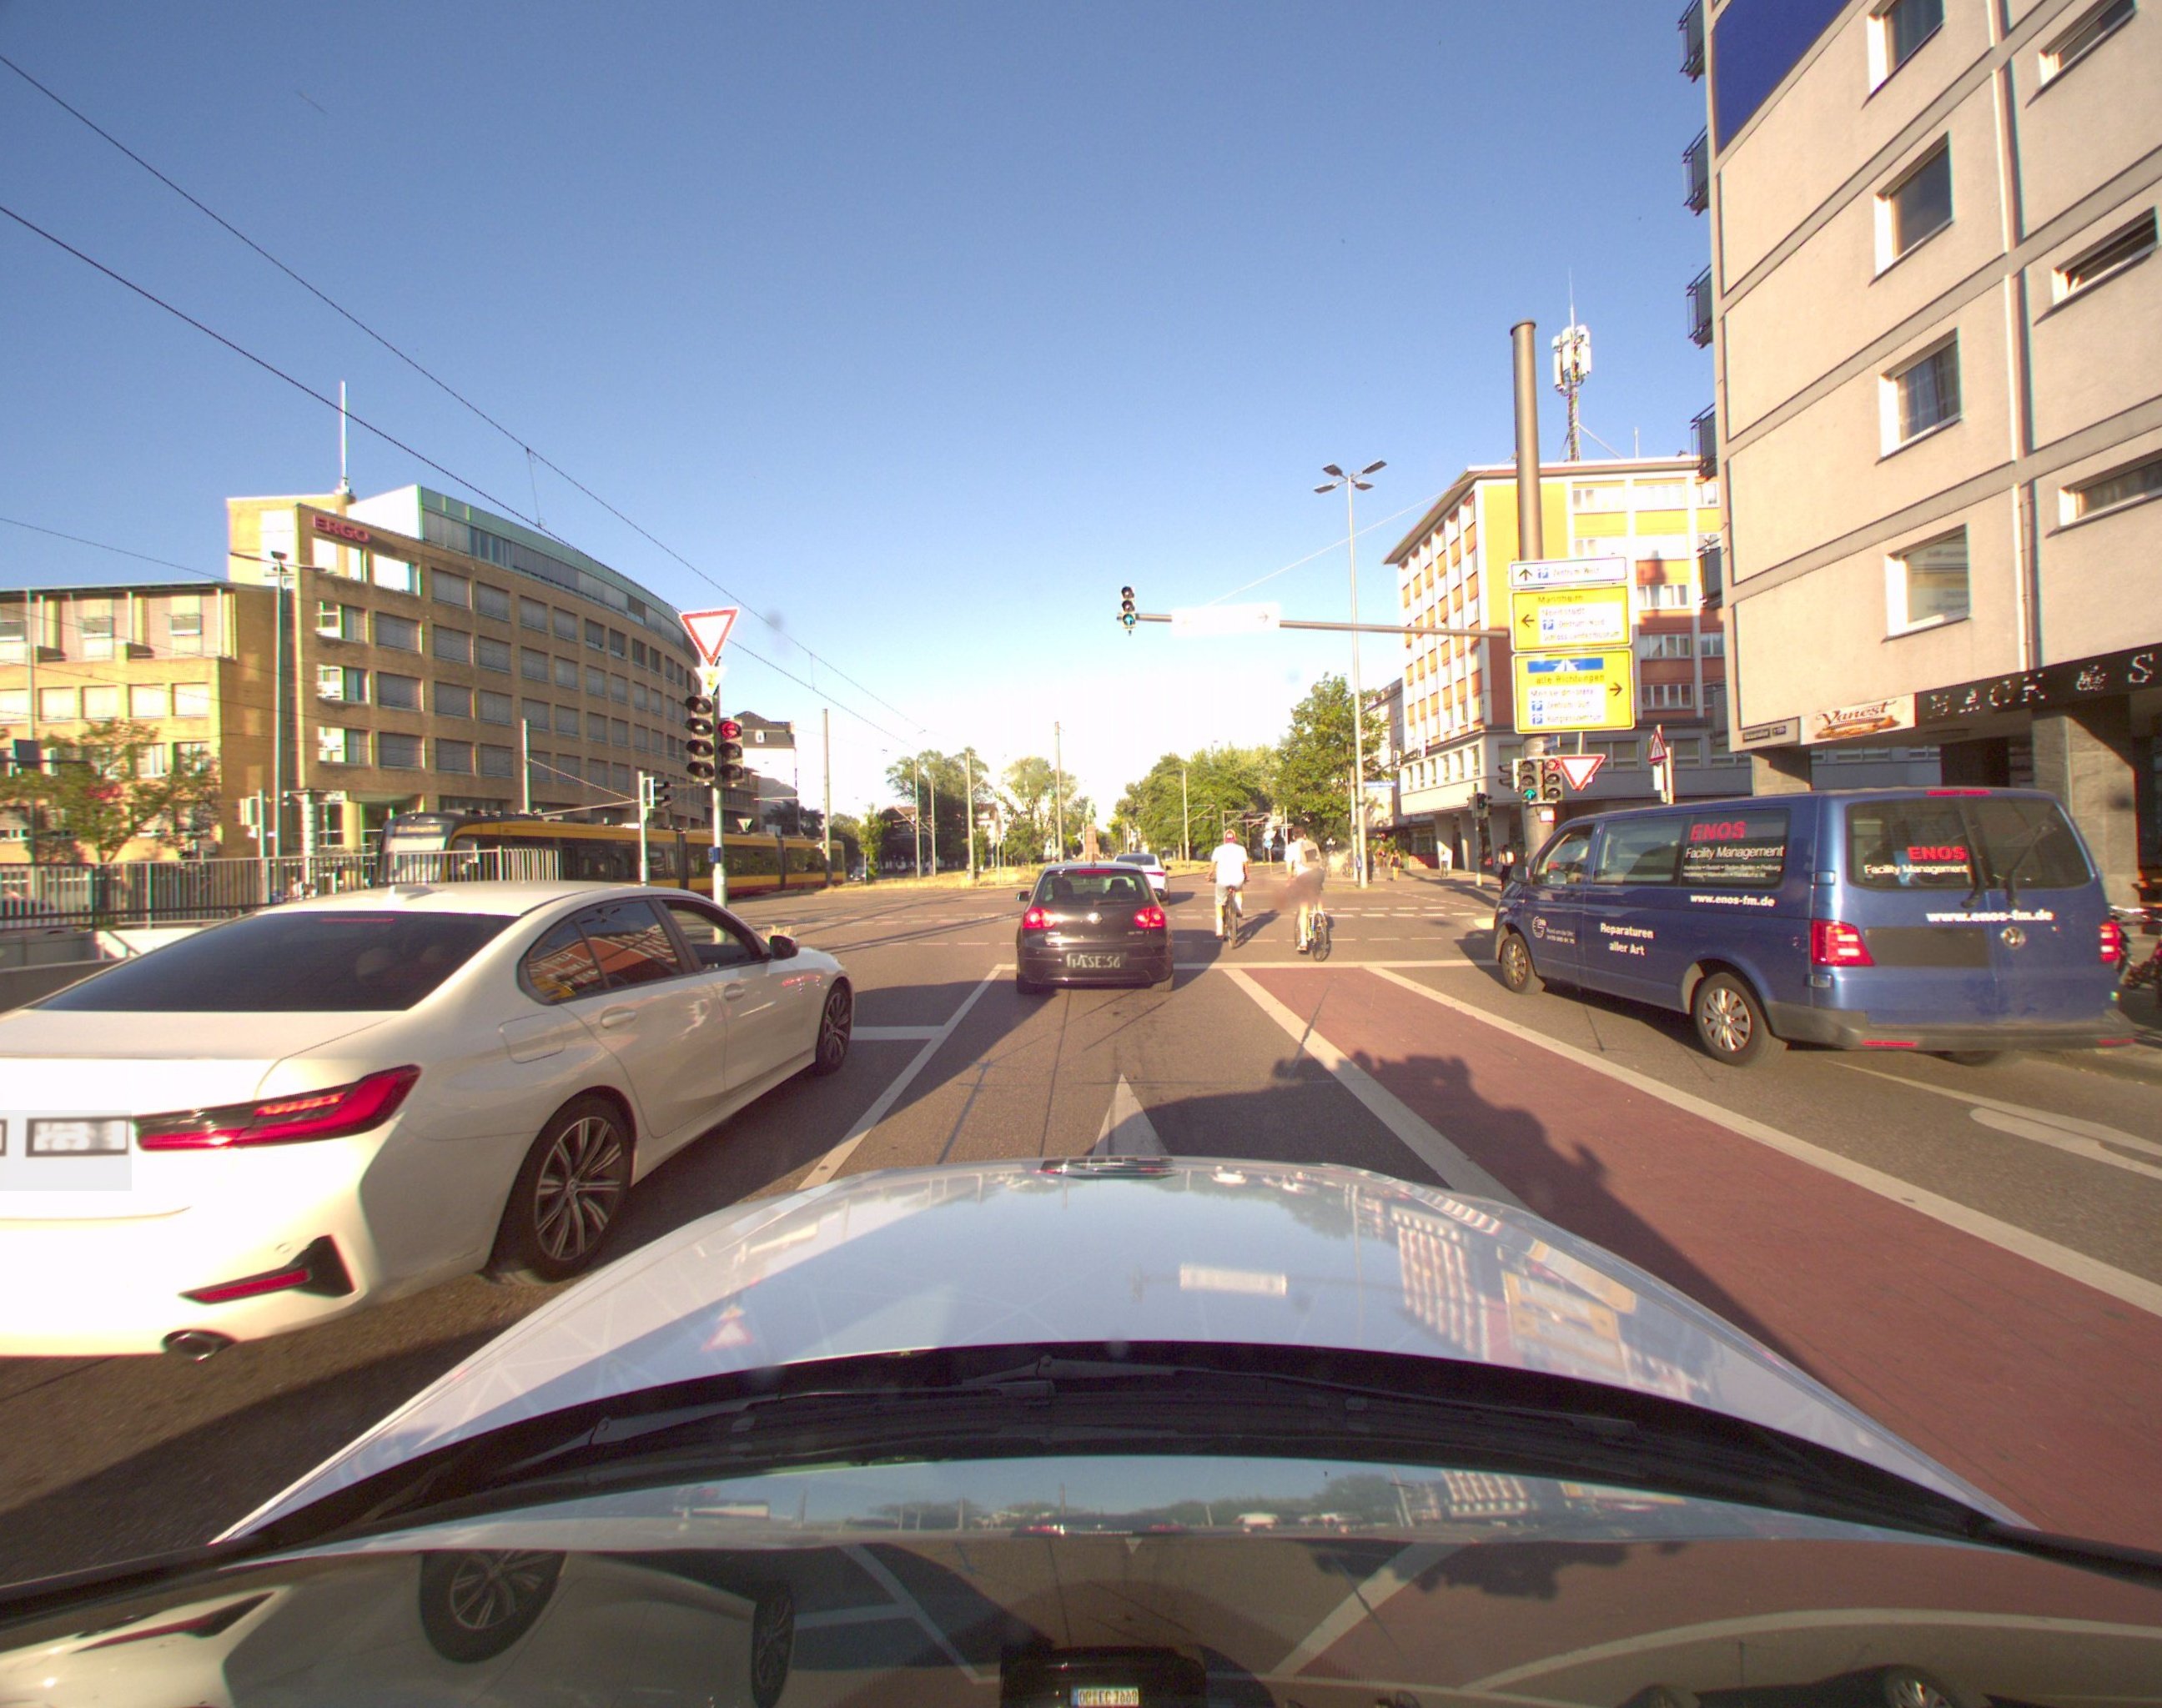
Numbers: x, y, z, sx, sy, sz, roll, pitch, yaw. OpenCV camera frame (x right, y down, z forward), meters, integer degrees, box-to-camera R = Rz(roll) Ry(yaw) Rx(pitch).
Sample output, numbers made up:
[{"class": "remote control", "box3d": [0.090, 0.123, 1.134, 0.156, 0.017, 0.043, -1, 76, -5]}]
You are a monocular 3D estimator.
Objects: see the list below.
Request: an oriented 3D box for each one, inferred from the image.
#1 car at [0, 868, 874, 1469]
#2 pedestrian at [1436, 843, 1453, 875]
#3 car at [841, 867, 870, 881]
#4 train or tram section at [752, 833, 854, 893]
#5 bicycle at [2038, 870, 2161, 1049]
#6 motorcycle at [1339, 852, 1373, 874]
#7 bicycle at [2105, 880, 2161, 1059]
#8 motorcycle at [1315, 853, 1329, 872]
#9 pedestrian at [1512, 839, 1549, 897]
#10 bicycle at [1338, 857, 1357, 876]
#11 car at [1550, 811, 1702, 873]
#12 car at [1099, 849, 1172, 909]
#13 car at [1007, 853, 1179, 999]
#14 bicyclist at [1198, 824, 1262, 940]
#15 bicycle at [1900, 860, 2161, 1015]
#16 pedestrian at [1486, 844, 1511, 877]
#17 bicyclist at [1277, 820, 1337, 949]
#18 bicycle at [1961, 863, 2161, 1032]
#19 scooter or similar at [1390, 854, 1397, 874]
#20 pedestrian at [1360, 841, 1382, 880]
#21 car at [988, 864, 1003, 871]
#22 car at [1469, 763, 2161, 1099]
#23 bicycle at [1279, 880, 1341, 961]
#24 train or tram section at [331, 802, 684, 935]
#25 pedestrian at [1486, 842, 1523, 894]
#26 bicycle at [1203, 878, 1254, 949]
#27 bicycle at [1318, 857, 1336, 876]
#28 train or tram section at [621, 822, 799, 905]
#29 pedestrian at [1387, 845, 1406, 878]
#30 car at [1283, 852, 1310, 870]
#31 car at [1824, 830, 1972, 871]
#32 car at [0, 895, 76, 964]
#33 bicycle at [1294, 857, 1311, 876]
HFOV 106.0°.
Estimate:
[{"class": "car", "box3d": [-2.691, 0.814, 4.322, 1.830, 1.401, 4.586, 1, 0, 2]}, {"class": "pedestrian", "box3d": [19.672, 0.278, 44.070, 0.566, 1.701, 0.813, -2, 0, 3]}, {"class": "car", "box3d": [-22.688, 2.042, 82.094, 1.639, 1.281, 3.742, -2, 0, 2]}, {"class": "train or tram section", "box3d": [-18.138, 0.558, 54.064, 2.763, 3.536, 10.574, -2, 0, 1]}, {"class": "bicycle", "box3d": [8.103, 0.683, 5.817, 1.863, 1.125, 0.567, -4, 0, -2]}, {"class": "motorcycle", "box3d": [18.849, 0.603, 55.848, 2.031, 1.406, 0.762, -2, 0, 9]}, {"class": "bicycle", "box3d": [7.874, 0.693, 5.236, 1.863, 1.125, 0.567, -4, 0, -2]}, {"class": "motorcycle", "box3d": [17.070, 0.592, 57.718, 0.662, 1.242, 2.206, -2, 0, 9]}, {"class": "pedestrian", "box3d": [13.314, 0.406, 24.137, 0.679, 1.662, 0.747, -2, 0, 3]}, {"class": "bicycle", "box3d": [17.208, 0.773, 52.654, 0.642, 1.158, 2.126, -2, 1, 4]}, {"class": "car", "box3d": [23.674, -0.494, 35.523, 5.230, 2.482, 1.926, -2, 0, 1]}, {"class": "car", "box3d": [1.652, 0.644, 23.600, 1.856, 1.441, 4.204, -3, 1, 6]}, {"class": "car", "box3d": [0.088, 0.748, 10.428, 1.743, 1.461, 4.101, -1, 0, -1]}, {"class": "bicyclist", "box3d": [2.447, 0.447, 13.474, 0.823, 1.807, 1.057, -2, -1, 0]}, {"class": "bicycle", "box3d": [8.249, 0.682, 6.980, 1.863, 1.125, 0.567, -4, 0, -2]}, {"class": "pedestrian", "box3d": [21.965, 0.351, 42.859, 0.780, 1.701, 1.028, -2, 0, 3]}, {"class": "bicyclist", "box3d": [3.303, 0.436, 11.977, 0.670, 1.807, 0.996, -2, -1, 7]}, {"class": "bicycle", "box3d": [8.158, 0.693, 6.393, 1.863, 1.125, 0.567, -4, 0, -2]}, {"class": "scooter or similar", "box3d": [20.792, 0.667, 54.201, 0.411, 1.254, 1.189, -2, 0, 21]}, {"class": "pedestrian", "box3d": [12.713, 0.282, 35.724, 0.658, 1.704, 1.074, -2, 0, 7]}, {"class": "car", "box3d": [-19.865, 3.217, 188.529, 3.329, 1.507, 1.658, -2, 0, -2]}, {"class": "car", "box3d": [5.528, 0.464, 7.244, 1.929, 1.933, 4.834, -2, 0, 2]}, {"class": "bicycle", "box3d": [3.310, 0.927, 11.883, 0.572, 1.028, 1.860, -2, 0, 7]}, {"class": "train or tram section", "box3d": [-18.851, 0.419, 28.796, 2.763, 3.536, 13.255, -2, 0, 2]}, {"class": "pedestrian", "box3d": [12.550, 0.414, 24.164, 0.679, 1.500, 0.747, -2, 0, 3]}, {"class": "bicycle", "box3d": [2.422, 0.945, 13.523, 0.476, 1.028, 1.981, -2, 0, 0]}, {"class": "bicycle", "box3d": [15.900, 0.787, 52.704, 0.642, 1.126, 1.876, -2, 1, 4]}, {"class": "train or tram section", "box3d": [-18.488, 0.439, 42.147, 2.763, 3.536, 13.255, -2, 0, 2]}, {"class": "pedestrian", "box3d": [15.775, 0.372, 40.794, 0.678, 1.589, 0.748, -2, 0, 6]}, {"class": "car", "box3d": [20.217, 0.633, 76.308, 1.712, 1.472, 3.922, -5, -2, 25]}, {"class": "car", "box3d": [32.357, -0.139, 32.348, 3.970, 1.464, 1.789, -2, 0, 3]}, {"class": "car", "box3d": [-25.846, 1.796, 18.355, 1.704, 1.540, 3.676, -2, 0, 2]}, {"class": "bicycle", "box3d": [14.322, 0.798, 52.706, 0.642, 1.126, 1.876, -2, 1, 4]}]
